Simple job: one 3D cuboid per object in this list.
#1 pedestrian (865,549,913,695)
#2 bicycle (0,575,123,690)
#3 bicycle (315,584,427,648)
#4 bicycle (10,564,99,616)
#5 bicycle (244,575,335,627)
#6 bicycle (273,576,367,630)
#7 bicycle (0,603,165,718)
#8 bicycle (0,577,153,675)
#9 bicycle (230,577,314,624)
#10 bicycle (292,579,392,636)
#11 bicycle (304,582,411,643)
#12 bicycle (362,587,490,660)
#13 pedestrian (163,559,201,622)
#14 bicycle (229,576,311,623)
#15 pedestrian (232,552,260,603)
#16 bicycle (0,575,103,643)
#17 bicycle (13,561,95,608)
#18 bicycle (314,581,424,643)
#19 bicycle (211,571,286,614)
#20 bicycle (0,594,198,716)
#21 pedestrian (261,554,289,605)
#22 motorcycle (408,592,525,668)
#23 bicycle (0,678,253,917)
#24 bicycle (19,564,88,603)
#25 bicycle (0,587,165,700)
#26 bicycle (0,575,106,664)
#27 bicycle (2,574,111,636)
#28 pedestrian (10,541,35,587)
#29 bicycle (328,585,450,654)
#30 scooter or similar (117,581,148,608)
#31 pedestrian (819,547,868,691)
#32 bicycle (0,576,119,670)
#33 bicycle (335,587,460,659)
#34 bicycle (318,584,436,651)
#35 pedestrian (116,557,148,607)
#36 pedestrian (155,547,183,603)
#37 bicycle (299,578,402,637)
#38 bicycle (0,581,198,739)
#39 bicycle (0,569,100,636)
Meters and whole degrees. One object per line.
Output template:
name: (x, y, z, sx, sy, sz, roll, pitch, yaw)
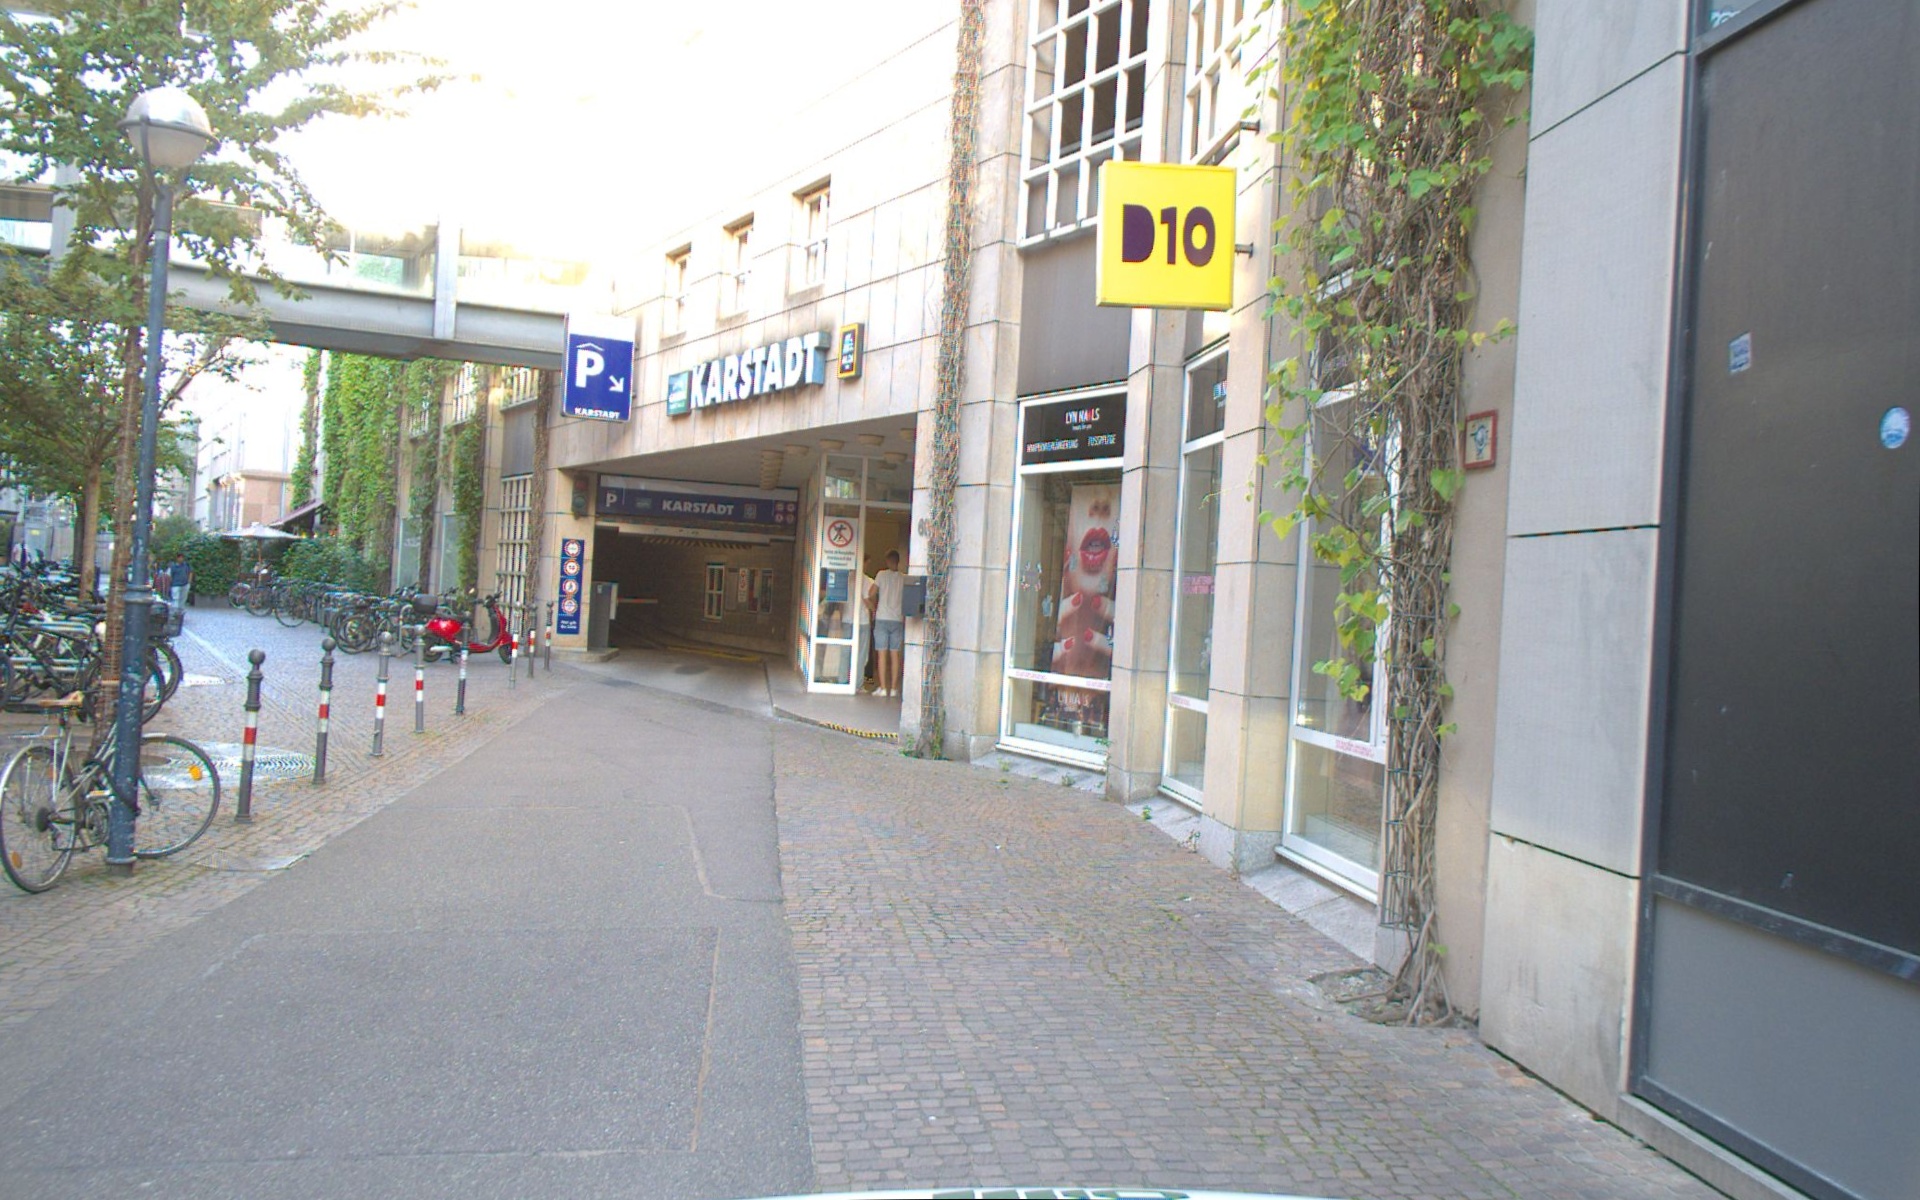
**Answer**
pedestrian: (-0.935, 0.284, 21.966, 0.531, 1.894, 0.408, 3, 0, -1)
bicycle: (-10.374, 0.344, 18.313, 1.888, 1.203, 0.691, 3, 0, -25)
bicycle: (-11.413, 0.315, 32.058, 1.970, 1.203, 0.796, 1, 1, -27)
bicycle: (-23.042, -0.256, 42.133, 1.888, 1.203, 0.691, 3, 0, -25)
bicycle: (-16.144, 0.034, 39.823, 1.970, 1.203, 0.688, 1, 1, -27)
bicycle: (-14.770, 0.070, 38.184, 1.970, 1.203, 0.688, 1, 1, -27)
bicycle: (-8.544, 0.559, 15.537, 1.891, 1.011, 0.690, 3, 0, -28)
bicycle: (-11.749, 0.349, 21.845, 1.888, 1.203, 0.691, 3, 0, -25)
bicycle: (-18.060, 0.020, 43.437, 1.970, 1.203, 0.688, 1, 1, -27)
bicycle: (-13.447, 0.160, 35.989, 1.970, 1.203, 0.688, 1, 1, -27)
bicycle: (-12.314, 0.264, 33.818, 1.970, 1.203, 0.688, 1, 1, -27)
bicycle: (-9.047, 0.398, 28.023, 1.970, 1.203, 0.690, 1, 1, -27)
pedestrian: (-19.329, -0.240, 41.092, 0.740, 1.536, 0.632, 3, 0, -29)
bicycle: (-18.429, -0.013, 44.202, 1.970, 1.203, 0.688, 1, 1, -27)
pedestrian: (-26.136, -0.820, 60.552, 0.767, 1.836, 0.759, 3, 0, -33)
bicycle: (-17.342, 0.171, 31.323, 1.888, 1.203, 0.691, 3, 0, -25)
bicycle: (-25.098, -0.428, 45.853, 1.888, 1.203, 0.691, 3, 0, -25)
bicycle: (-11.788, 0.241, 33.000, 1.970, 1.203, 0.688, 1, 1, -27)
bicycle: (-20.827, -0.226, 48.393, 1.970, 1.203, 0.688, 1, 1, -27)
bicycle: (-8.657, 0.549, 16.447, 1.891, 1.121, 0.690, 3, 0, -28)
pedestrian: (-25.155, -0.767, 60.727, 0.767, 1.836, 0.759, 3, 0, -33)
motorcycle: (-7.896, 0.481, 26.495, 1.723, 1.175, 0.590, 1, 0, -25)
bicycle: (-4.274, 0.929, 8.308, 0.494, 0.983, 1.696, 2, 0, 7)
bicycle: (-30.082, -0.544, 54.898, 1.888, 1.203, 0.691, 3, 0, -25)
bicycle: (-9.517, 0.453, 17.524, 1.888, 1.121, 0.691, 3, 0, -25)
bicycle: (-13.217, 0.265, 23.436, 1.888, 1.203, 0.691, 3, 0, -25)
bicycle: (-18.970, 0.102, 34.771, 1.888, 1.203, 0.691, 3, 0, -25)
pedestrian: (-38.376, -1.460, 67.697, 0.767, 1.836, 0.627, 3, 0, -33)
bicycle: (-10.220, 0.348, 29.614, 1.970, 1.203, 0.796, 1, 1, -27)
scooter or similar: (-27.854, -0.199, 55.649, 0.881, 0.858, 0.903, 3, 0, -29)
pedestrian: (-1.557, 0.247, 22.107, 0.531, 1.878, 0.408, 3, 0, -1)
bicycle: (-12.535, 0.306, 22.480, 1.888, 1.203, 0.691, 3, 0, -25)
bicycle: (-9.780, 0.401, 28.787, 1.970, 1.203, 0.690, 1, 1, -27)
bicycle: (-10.803, 0.321, 30.676, 1.970, 1.203, 0.796, 1, 1, -27)
pedestrian: (-28.264, -0.609, 56.459, 0.881, 1.668, 0.903, 3, 0, -29)
pedestrian: (-26.740, -0.851, 55.913, 0.756, 1.836, 0.769, 3, 0, -29)
bicycle: (-12.879, 0.165, 34.985, 1.970, 1.203, 0.688, 1, 1, -27)
bicycle: (-7.642, 0.510, 14.237, 1.891, 1.283, 0.801, 3, 0, -28)
bicycle: (-17.791, 0.048, 32.074, 1.888, 1.203, 0.691, 3, 0, -25)
